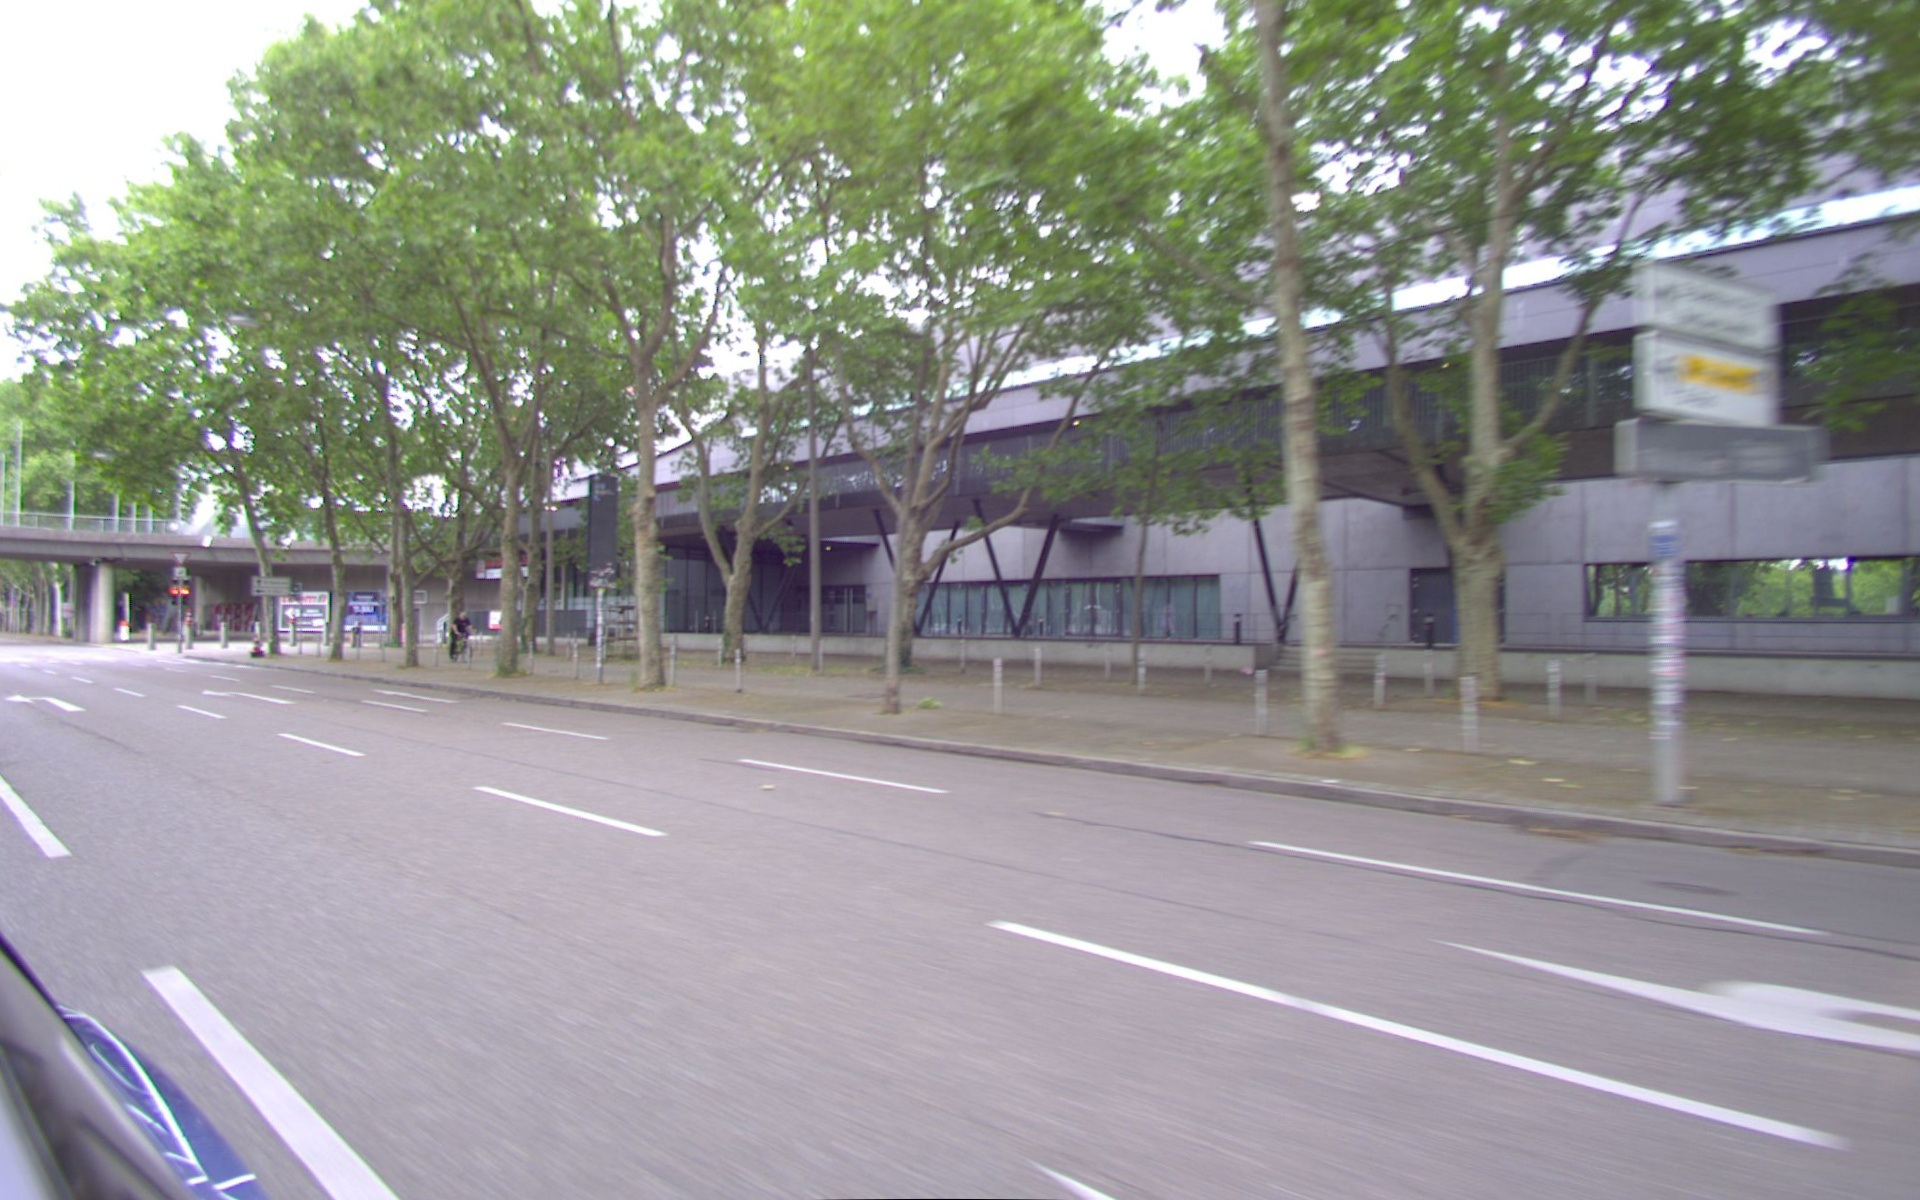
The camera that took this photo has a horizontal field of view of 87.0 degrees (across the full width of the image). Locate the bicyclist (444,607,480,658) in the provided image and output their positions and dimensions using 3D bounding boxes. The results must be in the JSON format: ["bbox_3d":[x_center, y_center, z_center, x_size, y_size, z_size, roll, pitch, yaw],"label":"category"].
[{"bbox_3d":[-17.252,1.121,35.051,0.854,1.710,0.756,1,-2,40],"label":"bicyclist"}]

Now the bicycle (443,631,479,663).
[{"bbox_3d":[-17.270,1.633,35.032,1.537,1.020,0.510,1,-2,40],"label":"bicycle"}]
